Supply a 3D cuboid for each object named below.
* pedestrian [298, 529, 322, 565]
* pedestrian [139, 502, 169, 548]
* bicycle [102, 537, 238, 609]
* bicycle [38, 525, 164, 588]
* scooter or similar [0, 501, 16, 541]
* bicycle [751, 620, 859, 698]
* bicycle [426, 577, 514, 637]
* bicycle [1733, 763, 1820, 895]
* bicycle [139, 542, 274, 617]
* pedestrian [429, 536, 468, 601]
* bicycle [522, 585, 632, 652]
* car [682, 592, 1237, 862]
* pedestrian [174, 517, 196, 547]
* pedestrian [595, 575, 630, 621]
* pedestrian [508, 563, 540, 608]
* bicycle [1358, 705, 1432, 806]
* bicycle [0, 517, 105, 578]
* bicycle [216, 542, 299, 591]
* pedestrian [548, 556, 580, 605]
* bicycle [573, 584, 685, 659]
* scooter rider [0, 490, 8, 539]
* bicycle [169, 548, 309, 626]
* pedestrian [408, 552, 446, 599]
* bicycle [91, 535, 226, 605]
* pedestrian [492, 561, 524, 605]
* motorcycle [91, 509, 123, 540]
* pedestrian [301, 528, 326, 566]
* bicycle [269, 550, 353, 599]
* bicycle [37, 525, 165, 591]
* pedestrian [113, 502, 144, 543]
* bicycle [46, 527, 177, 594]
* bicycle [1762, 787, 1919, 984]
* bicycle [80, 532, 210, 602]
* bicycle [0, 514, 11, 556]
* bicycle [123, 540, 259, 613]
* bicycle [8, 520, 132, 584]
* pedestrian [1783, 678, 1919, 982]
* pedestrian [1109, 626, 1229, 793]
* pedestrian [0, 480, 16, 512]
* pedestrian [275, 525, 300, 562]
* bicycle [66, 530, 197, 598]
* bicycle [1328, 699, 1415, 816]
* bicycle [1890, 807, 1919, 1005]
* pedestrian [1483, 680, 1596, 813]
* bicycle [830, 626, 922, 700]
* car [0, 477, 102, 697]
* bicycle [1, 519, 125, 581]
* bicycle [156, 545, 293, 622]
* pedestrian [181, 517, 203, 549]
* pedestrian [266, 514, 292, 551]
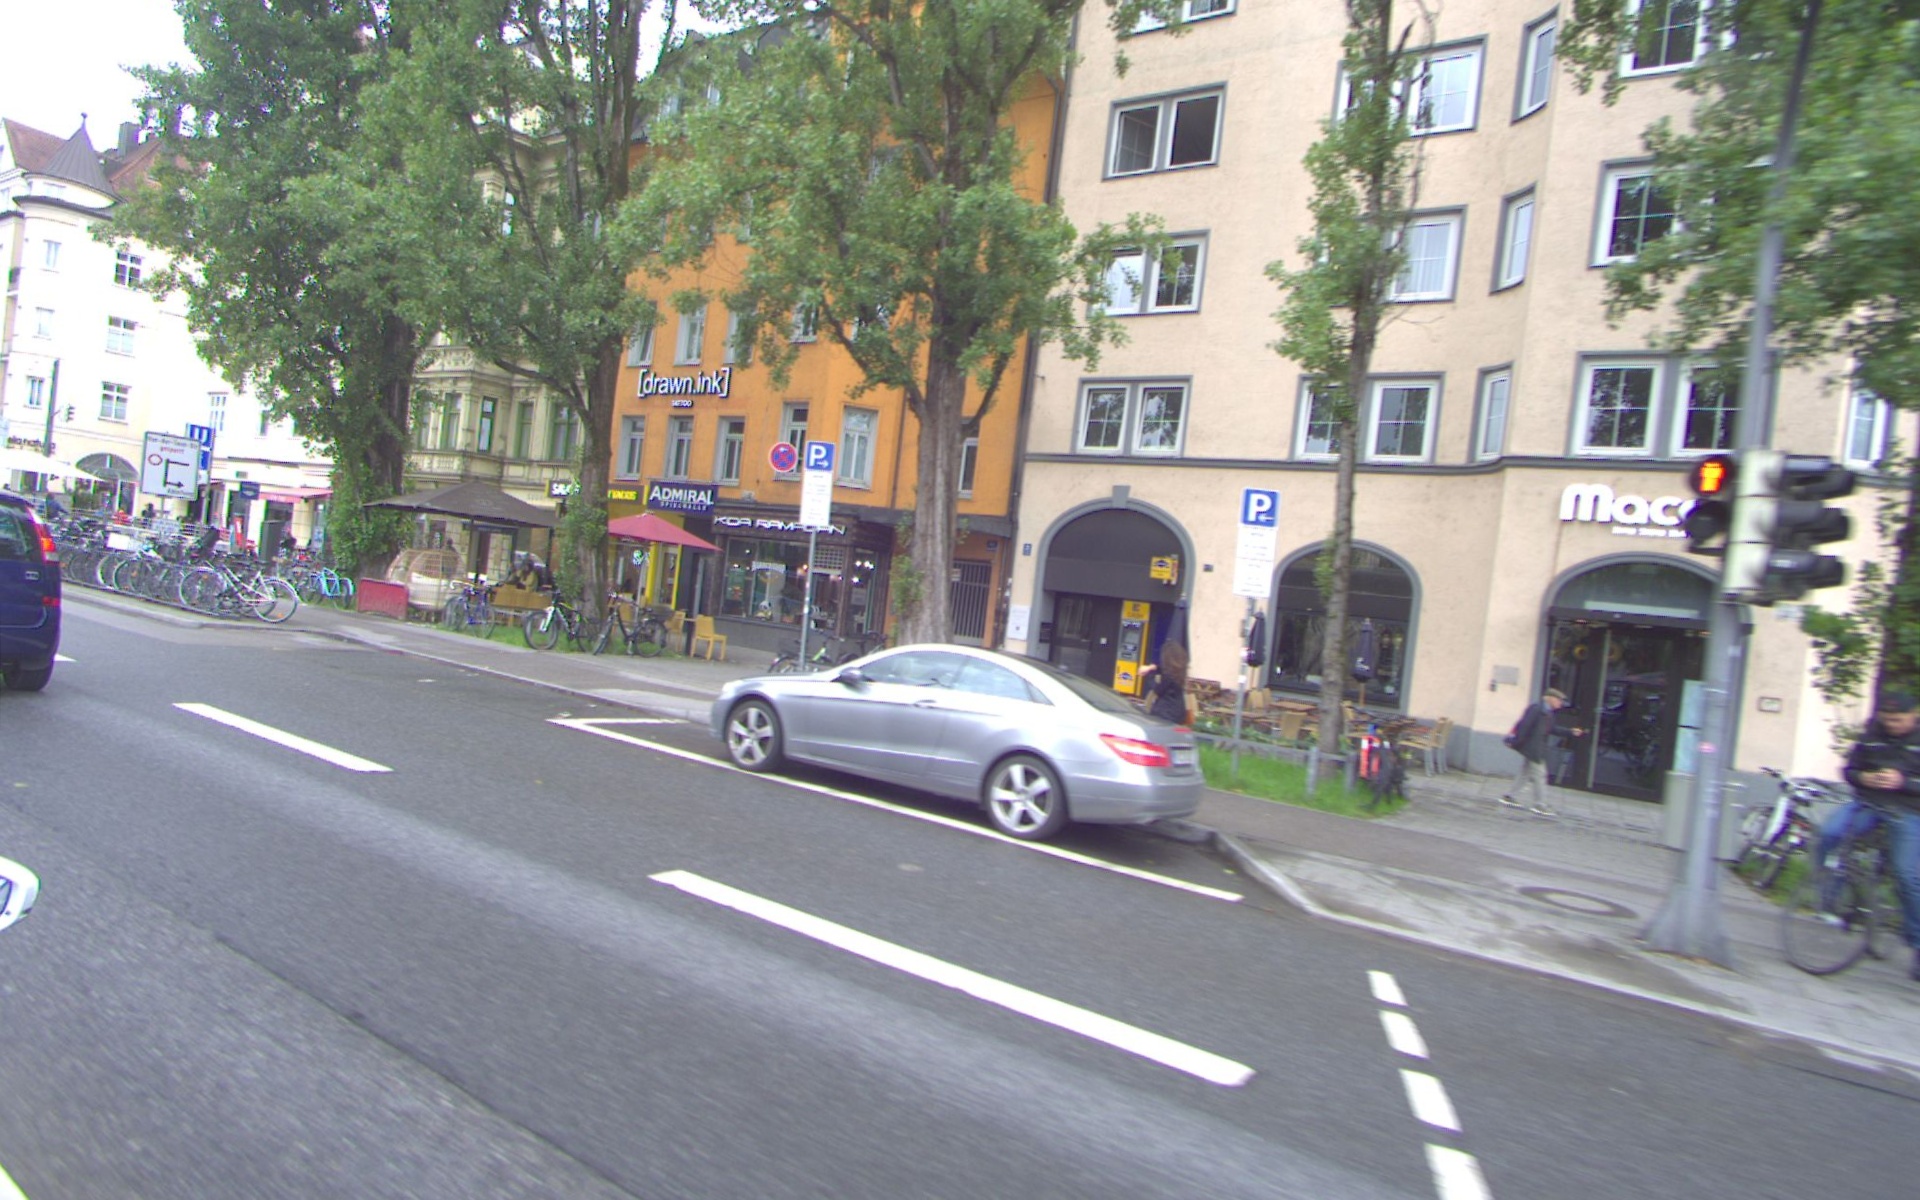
[{"bbox_3d":[-24.907,-2.040,38.542,0.543,1.305,0.495,7,1,32],"label":"pedestrian"},{"bbox_3d":[-31.352,-2.917,39.123,0.666,1.653,0.615,7,1,32],"label":"pedestrian"},{"bbox_3d":[-14.157,-0.485,18.065,1.815,1.008,0.374,9,1,-17],"label":"bicycle"},{"bbox_3d":[-17.425,-0.871,20.445,1.825,1.008,0.372,9,0,-35],"label":"bicycle"},{"bbox_3d":[-28.140,-2.356,29.137,1.235,1.088,0.776,7,1,30],"label":"scooter or similar"},{"bbox_3d":[-2.315,0.911,15.264,0.450,1.067,1.891,7,0,29],"label":"bicycle"},{"bbox_3d":[-9.200,0.124,18.859,1.862,0.903,0.457,7,1,31],"label":"bicycle"},{"bbox_3d":[7.977,2.194,9.867,0.386,1.062,1.574,7,-1,33],"label":"bicycle"},{"bbox_3d":[-12.955,-0.340,17.324,1.811,1.008,0.375,9,1,-8],"label":"bicycle"},{"bbox_3d":[-14.671,-0.892,28.854,0.655,1.761,0.601,7,1,32],"label":"pedestrian"},{"bbox_3d":[-6.953,0.356,18.352,0.451,1.067,1.889,7,0,33],"label":"bicycle"},{"bbox_3d":[-0.072,0.952,9.002,4.452,1.458,1.997,7,-1,30],"label":"car"},{"bbox_3d":[-32.630,-2.854,42.364,0.518,1.180,0.479,7,1,30],"label":"pedestrian"},{"bbox_3d":[-10.026,-0.053,29.032,0.573,1.233,0.623,7,1,31],"label":"pedestrian"},{"bbox_3d":[-13.491,-0.452,31.126,0.573,1.296,0.584,7,1,31],"label":"pedestrian"},{"bbox_3d":[5.497,1.918,12.663,0.440,1.123,1.799,7,-1,33],"label":"bicycle"},{"bbox_3d":[-19.250,-1.102,21.214,1.815,1.008,0.324,9,1,-16],"label":"bicycle"},{"bbox_3d":[-18.337,-0.859,26.294,0.380,1.058,1.727,9,0,26],"label":"bicycle"},{"bbox_3d":[-12.892,-0.638,32.775,0.574,1.493,0.625,7,1,34],"label":"pedestrian"},{"bbox_3d":[-6.004,0.414,18.347,0.573,1.188,1.889,7,0,33],"label":"bicycle"},{"bbox_3d":[-28.270,-2.523,29.173,0.632,1.406,0.701,7,1,30],"label":"scooter rider"},{"bbox_3d":[-11.828,-0.207,16.531,1.811,1.008,0.375,9,1,-8],"label":"bicycle"},{"bbox_3d":[-15.008,-0.686,28.346,0.655,1.237,0.601,7,1,32],"label":"pedestrian"},{"bbox_3d":[-14.690,-0.546,18.472,1.817,1.008,0.373,9,1,-20],"label":"bicycle"},{"bbox_3d":[-14.176,-0.534,31.579,0.573,1.296,0.584,7,1,31],"label":"pedestrian"},{"bbox_3d":[-35.518,-3.147,41.890,1.545,1.171,0.487,7,1,33],"label":"motorcycle"},{"bbox_3d":[-24.303,-1.979,37.798,0.543,1.349,0.495,7,1,32],"label":"pedestrian"},{"bbox_3d":[-17.155,-0.674,26.629,0.382,1.058,1.720,9,0,42],"label":"bicycle"},{"bbox_3d":[-16.966,-0.821,19.897,1.817,1.008,0.373,9,1,-21],"label":"bicycle"},{"bbox_3d":[-32.263,-3.002,39.025,0.606,1.440,0.676,7,1,32],"label":"pedestrian"},{"bbox_3d":[-16.376,-0.753,19.459,1.817,1.008,0.373,9,1,-21],"label":"bicycle"},{"bbox_3d":[5.988,1.837,6.535,1.722,1.116,0.357,7,1,-24],"label":"bicycle"},{"bbox_3d":[-15.203,-0.608,18.801,1.814,1.008,0.374,9,1,-14],"label":"bicycle"},{"bbox_3d":[-24.483,-1.726,24.591,1.816,1.008,0.324,9,1,-19],"label":"bicycle"},{"bbox_3d":[-13.517,-0.406,17.707,1.813,1.008,0.374,9,1,-14],"label":"bicycle"},{"bbox_3d":[-18.176,-0.970,20.578,1.817,1.008,0.323,9,1,-21],"label":"bicycle"},{"bbox_3d":[6.086,1.478,6.591,0.693,1.802,0.647,7,1,-25],"label":"pedestrian"},{"bbox_3d":[2.156,1.121,10.461,0.752,1.582,0.759,7,1,-20],"label":"pedestrian"},{"bbox_3d":[-52.778,-5.745,55.432,0.671,1.707,0.744,8,3,-10],"label":"pedestrian"},{"bbox_3d":[-25.259,-2.123,37.763,0.543,1.305,0.495,7,1,32],"label":"pedestrian"},{"bbox_3d":[-15.793,-0.677,19.221,1.817,1.008,0.373,9,1,-21],"label":"bicycle"},{"bbox_3d":[4.572,1.721,11.106,0.440,1.122,1.801,7,-2,33],"label":"bicycle"},{"bbox_3d":[6.402,1.872,5.925,1.717,1.116,0.358,7,1,-13],"label":"bicycle"},{"bbox_3d":[7.856,1.975,13.676,0.836,1.622,0.820,6,1,-15],"label":"pedestrian"},{"bbox_3d":[-1.384,1.066,16.882,0.450,1.127,1.891,7,0,29],"label":"bicycle"},{"bbox_3d":[-8.732,-0.304,8.090,3.497,1.608,1.706,7,-1,32],"label":"car"},{"bbox_3d":[-18.661,-1.026,20.957,1.820,1.008,0.323,9,0,-27],"label":"bicycle"},{"bbox_3d":[-12.334,-0.266,16.905,1.811,1.008,0.375,9,1,-8],"label":"bicycle"},{"bbox_3d":[-33.239,-2.896,43.533,0.518,1.315,0.479,7,1,30],"label":"pedestrian"},{"bbox_3d":[-28.246,-2.789,41.744,0.542,1.414,0.543,7,1,5],"label":"pedestrian"}]
